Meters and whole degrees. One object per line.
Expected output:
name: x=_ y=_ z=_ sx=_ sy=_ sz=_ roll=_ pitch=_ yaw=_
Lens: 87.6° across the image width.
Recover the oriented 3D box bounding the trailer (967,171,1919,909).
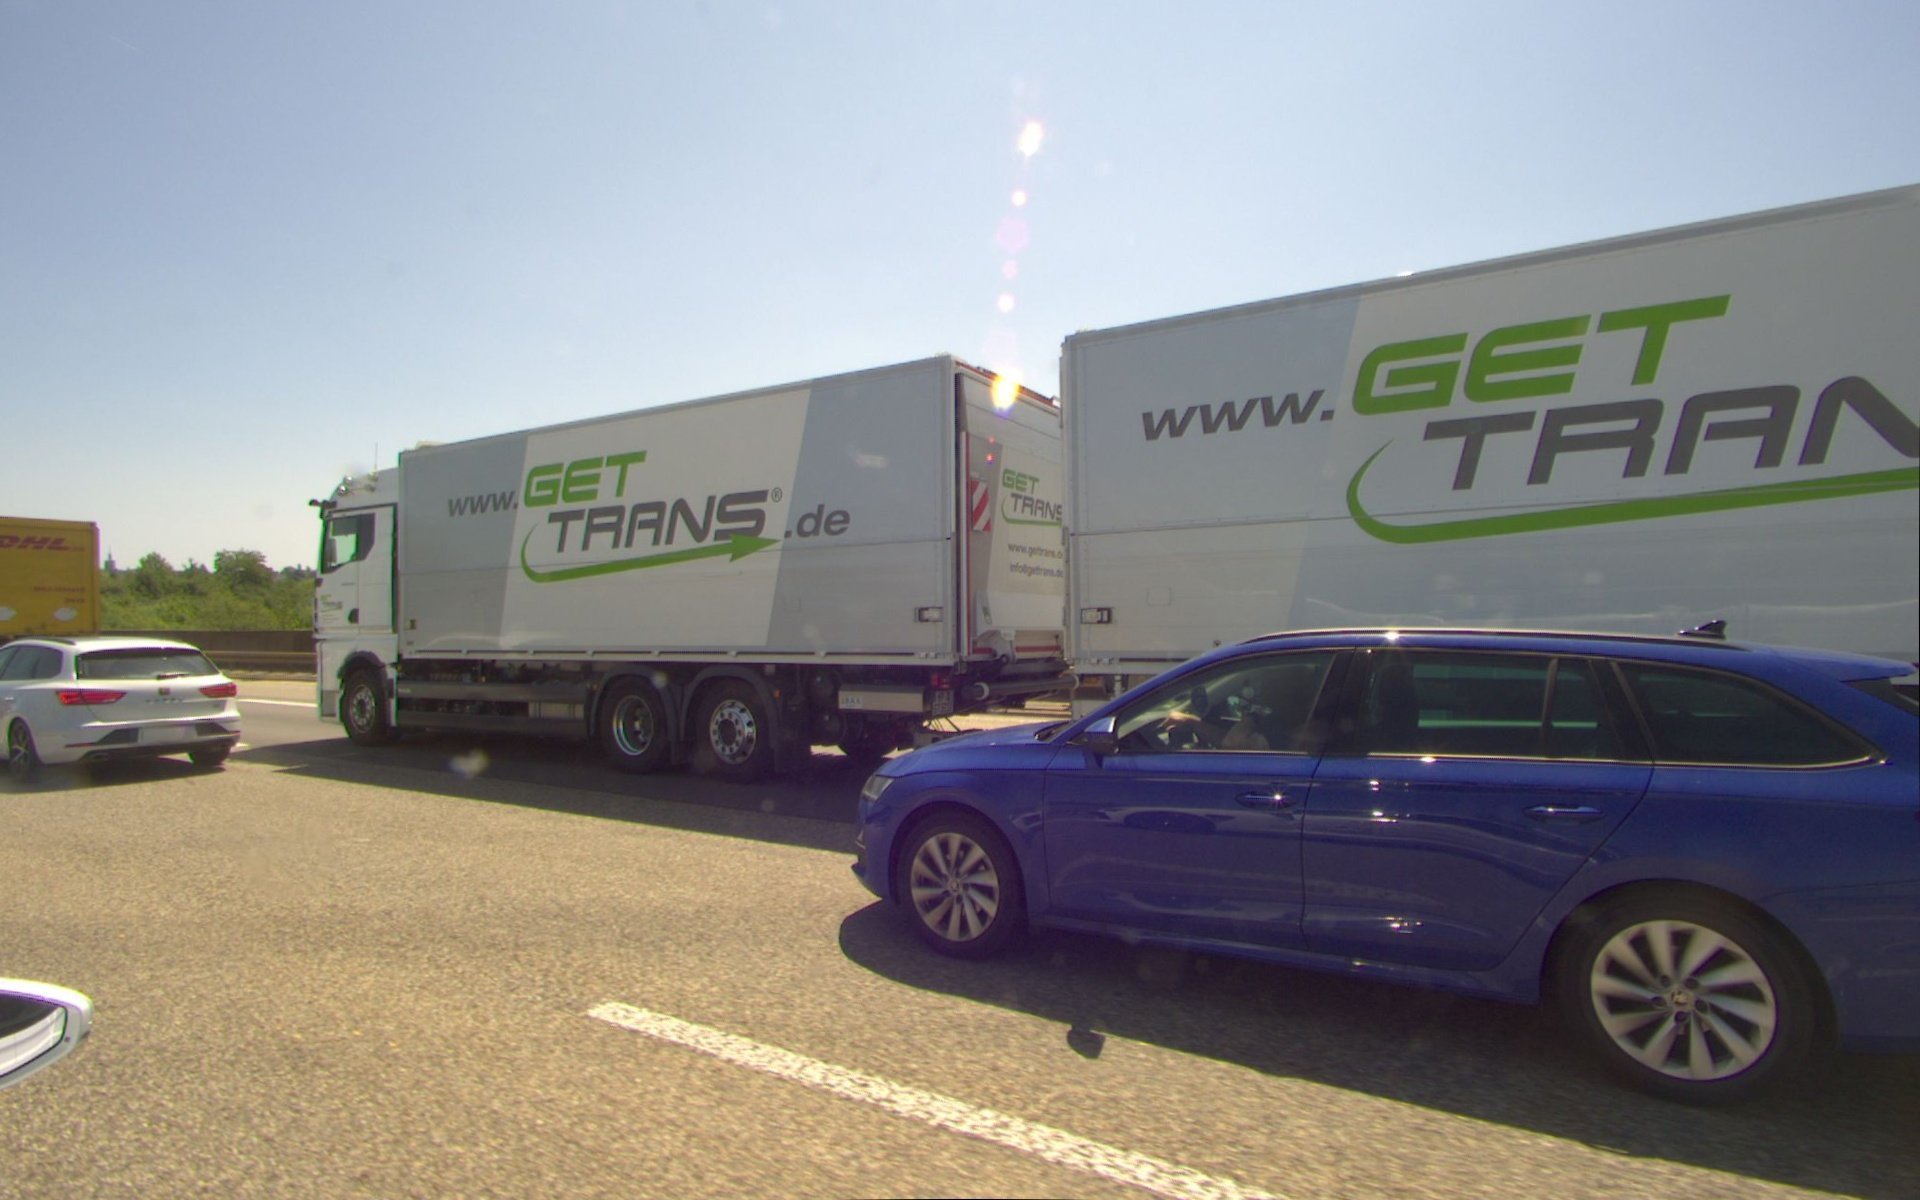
trailer: x=4.259 y=-0.243 z=6.894 sx=8.171 sy=3.640 sz=2.840 roll=-1 pitch=-1 yaw=31

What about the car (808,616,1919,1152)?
car: x=1.582 y=0.820 z=4.394 sx=4.436 sy=1.459 sz=1.707 roll=-1 pitch=-1 yaw=32

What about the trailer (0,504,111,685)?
trailer: x=-25.061 y=0.002 z=25.472 sx=8.802 sy=4.074 sz=2.697 roll=-2 pitch=-2 yaw=32

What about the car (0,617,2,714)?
car: x=-18.202 y=1.101 z=17.045 sx=3.943 sy=1.629 sz=1.848 roll=-1 pitch=-1 yaw=32

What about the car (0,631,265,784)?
car: x=-9.714 y=1.060 z=11.167 sx=4.128 sy=1.405 sz=1.778 roll=-1 pitch=-1 yaw=32

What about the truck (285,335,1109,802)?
truck: x=-3.737 y=-0.083 z=11.805 sx=10.613 sy=3.648 sz=2.847 roll=-2 pitch=-2 yaw=31
